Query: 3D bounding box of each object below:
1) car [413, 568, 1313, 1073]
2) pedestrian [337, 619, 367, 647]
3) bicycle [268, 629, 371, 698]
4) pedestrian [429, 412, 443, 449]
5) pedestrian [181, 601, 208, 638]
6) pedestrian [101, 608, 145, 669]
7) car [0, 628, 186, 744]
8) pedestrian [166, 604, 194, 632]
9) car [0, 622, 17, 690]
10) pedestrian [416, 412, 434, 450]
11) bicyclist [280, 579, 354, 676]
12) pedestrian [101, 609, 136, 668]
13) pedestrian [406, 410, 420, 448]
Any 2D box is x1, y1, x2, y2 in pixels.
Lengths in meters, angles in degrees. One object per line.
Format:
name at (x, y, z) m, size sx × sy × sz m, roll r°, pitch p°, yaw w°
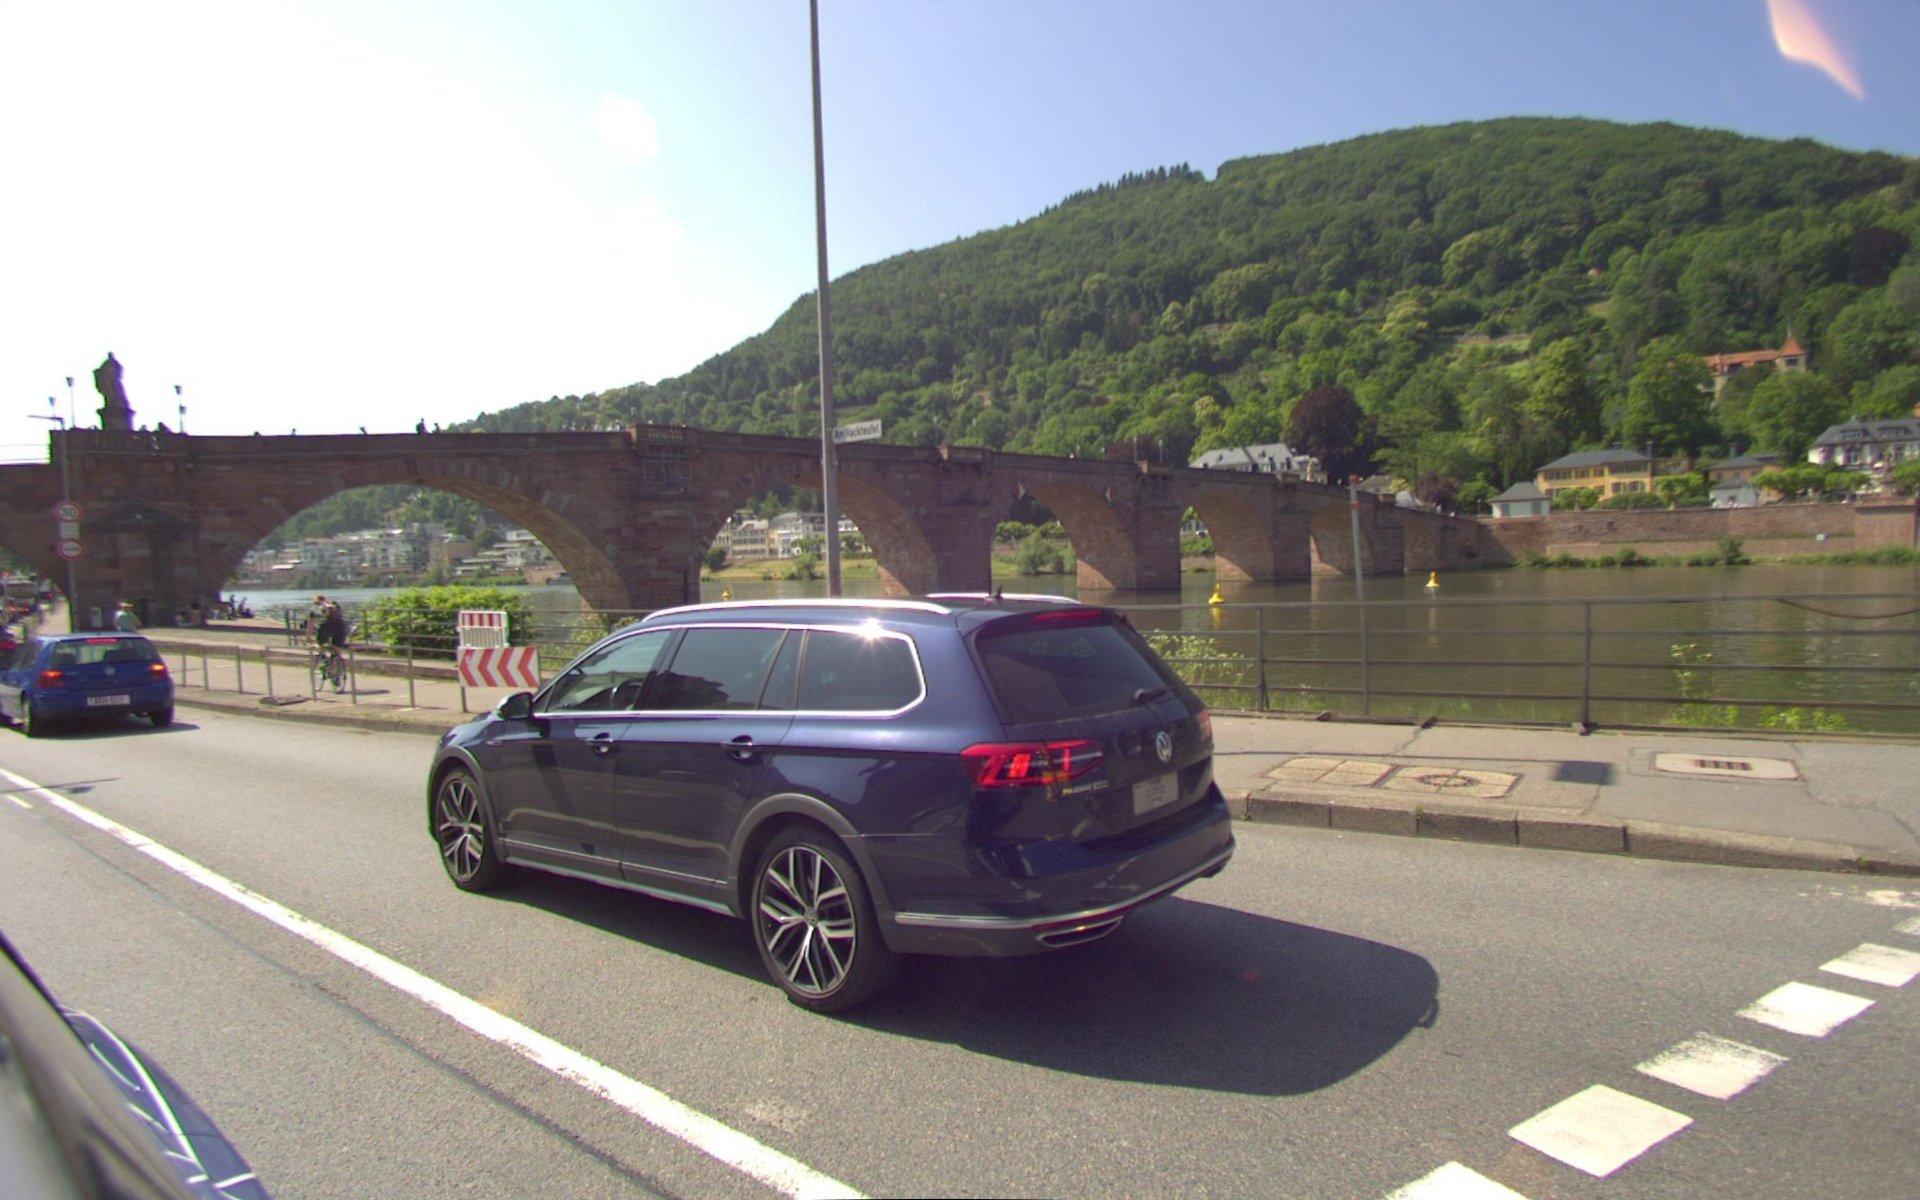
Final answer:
car at (-0.774, 0.654, 4.943) m, size 4.352 × 1.417 × 1.791 m, roll -2°, pitch 1°, yaw 39°
pedestrian at (-26.305, 1.400, 43.770) m, size 0.954 × 1.139 × 0.832 m, roll -3°, pitch 1°, yaw -41°
bicycle at (-11.420, 1.123, 18.034) m, size 2.027 × 1.121 × 0.662 m, roll -2°, pitch 2°, yaw 32°
pedestrian at (-29.988, -9.696, 57.953) m, size 0.639 × 2.028 × 0.461 m, roll 1°, pitch 2°, yaw 40°
pedestrian at (-35.126, 0.895, 46.457) m, size 0.774 × 1.663 × 0.780 m, roll -1°, pitch 2°, yaw 43°
pedestrian at (-24.764, 1.122, 29.944) m, size 0.538 × 1.735 × 0.755 m, roll -2°, pitch 2°, yaw 7°
car at (-13.840, 1.273, 15.718) m, size 4.316 × 1.502 × 1.714 m, roll -3°, pitch -1°, yaw 36°
pedestrian at (-36.073, 0.845, 46.801) m, size 1.026 × 1.239 × 0.780 m, roll -1°, pitch 2°, yaw 43°
car at (-26.057, 1.451, 26.186) m, size 4.450 × 1.693 × 1.844 m, roll -1°, pitch 0°, yaw 40°
pedestrian at (-30.399, -9.609, 57.492) m, size 0.625 × 2.028 × 0.686 m, roll 1°, pitch 2°, yaw 40°
bicyclist at (-11.437, 0.476, 18.005) m, size 0.976 × 1.643 × 0.662 m, roll -1°, pitch 3°, yaw 31°
pedestrian at (-26.688, 1.200, 32.112) m, size 0.513 × 1.806 × 0.824 m, roll -3°, pitch 2°, yaw -19°
pedestrian at (-30.814, -9.657, 57.041) m, size 0.639 × 2.028 × 0.461 m, roll 1°, pitch 2°, yaw 40°
